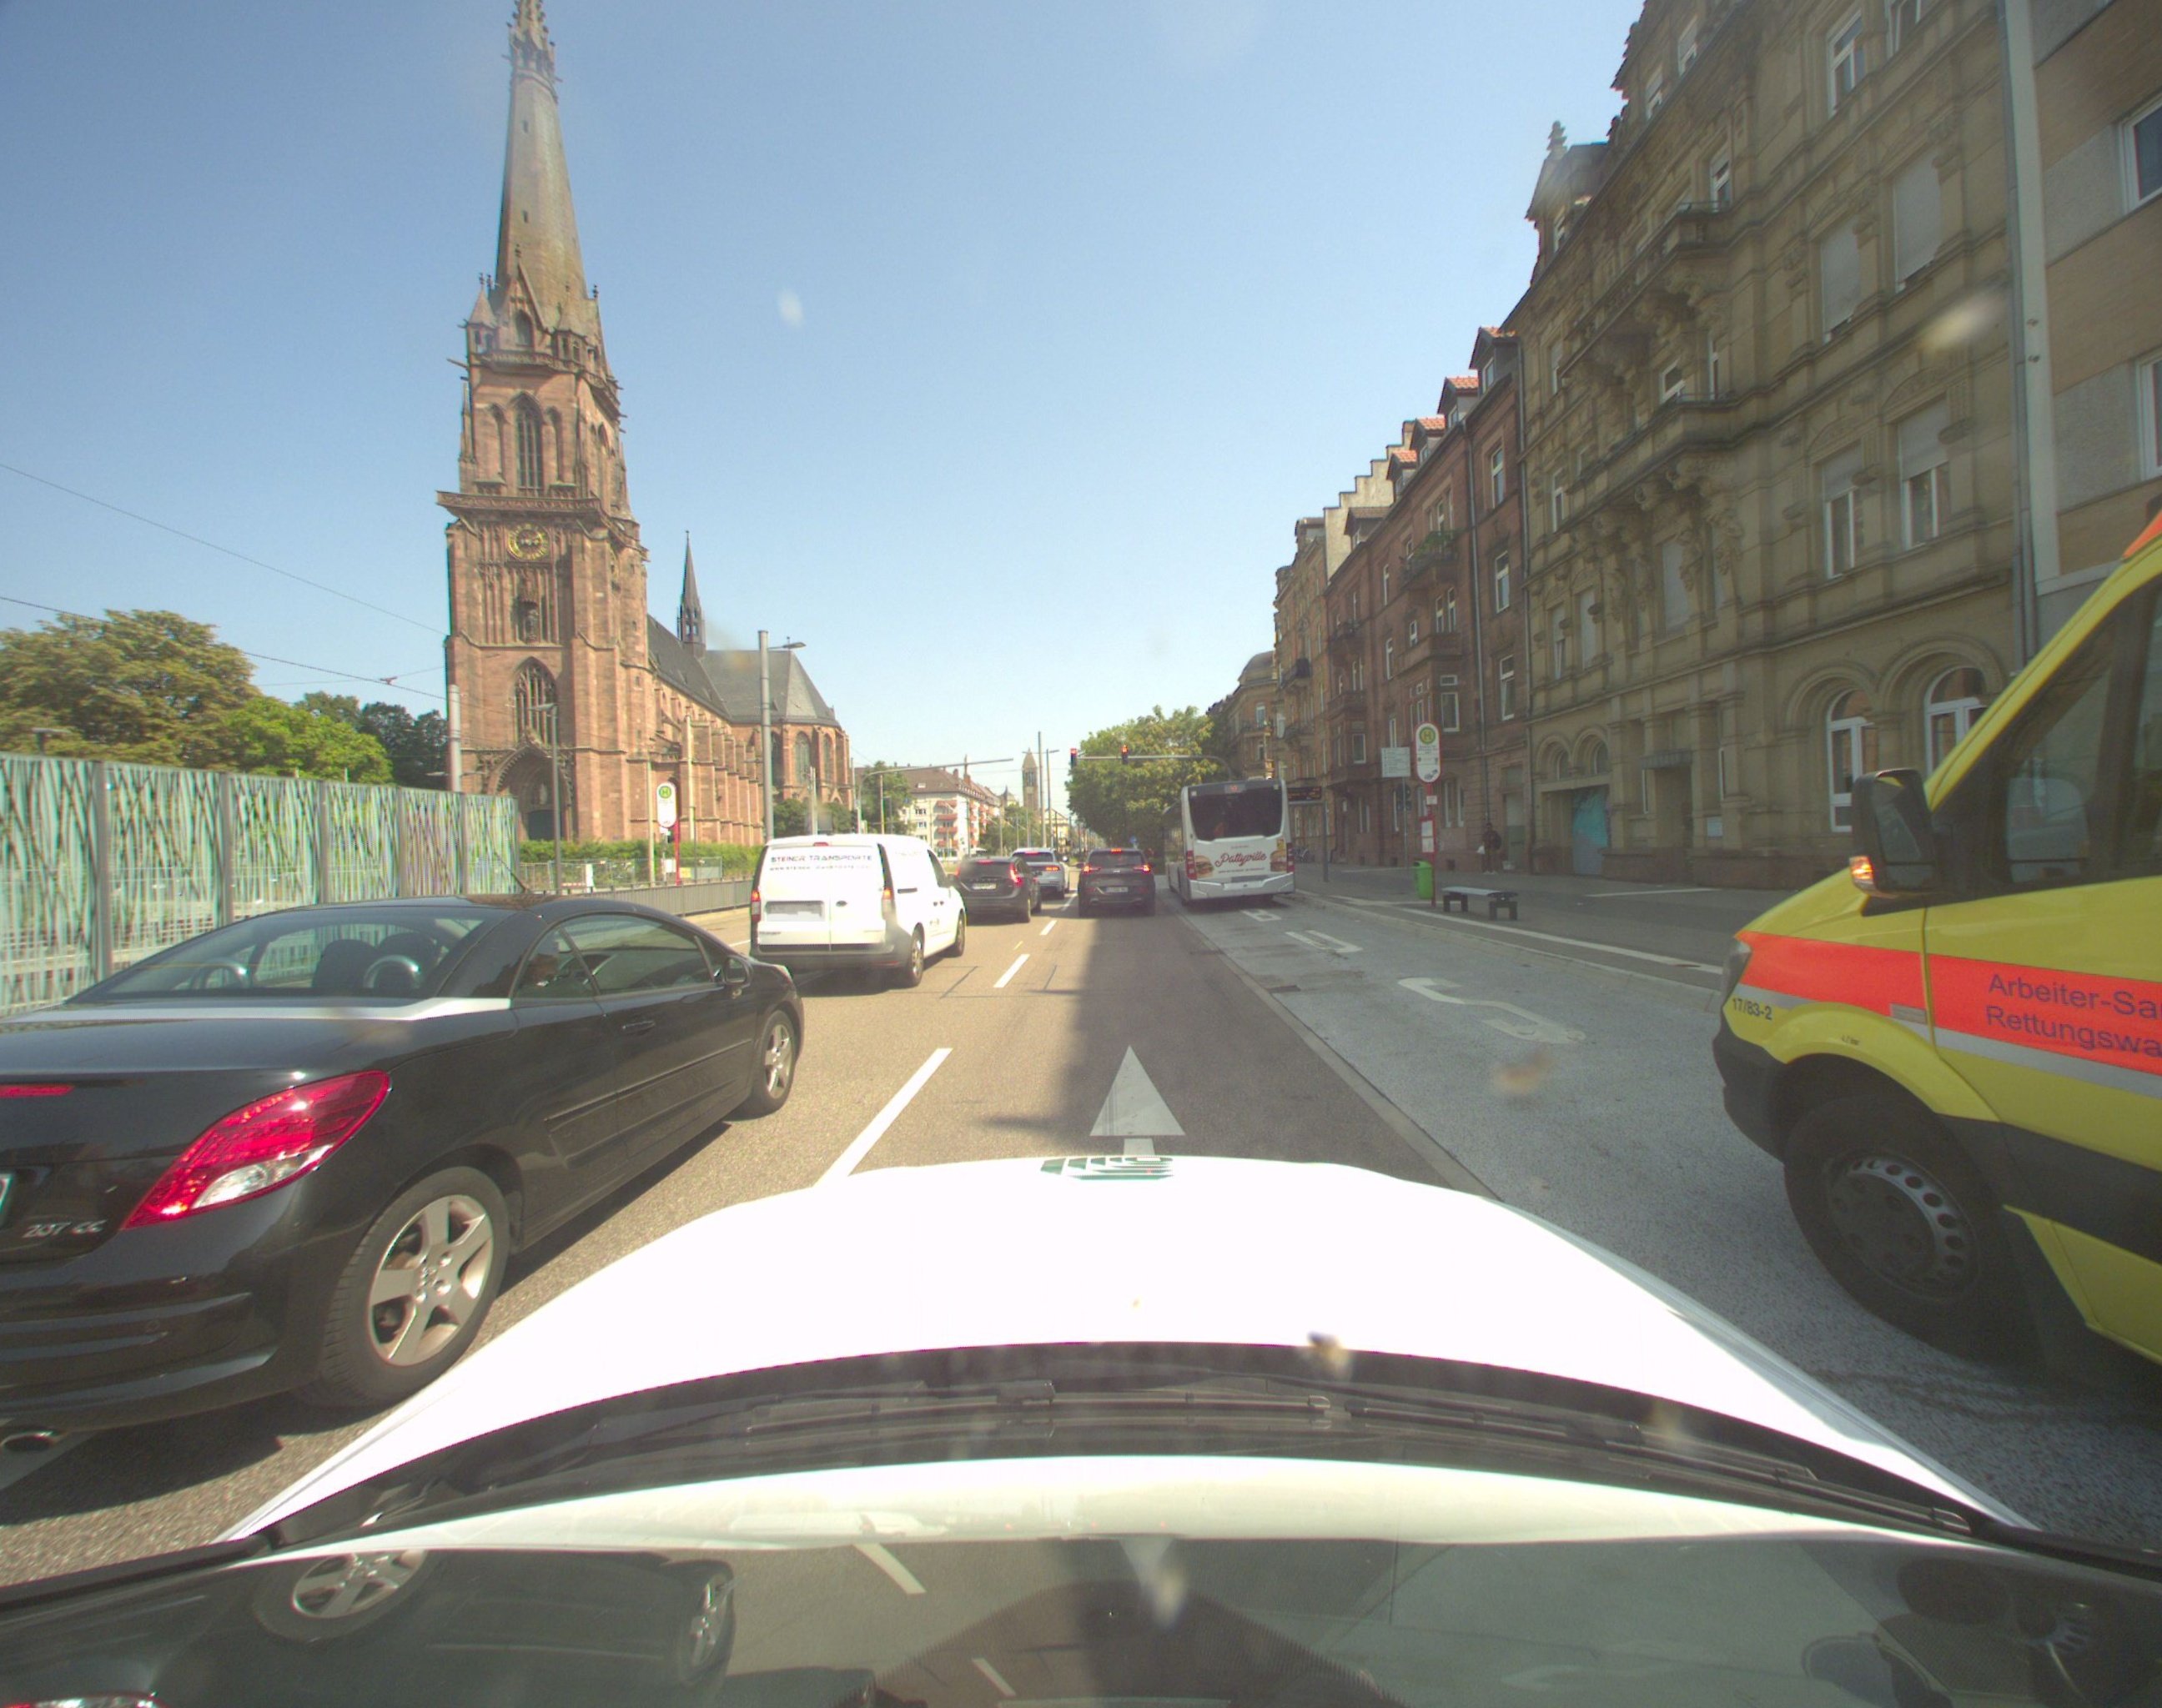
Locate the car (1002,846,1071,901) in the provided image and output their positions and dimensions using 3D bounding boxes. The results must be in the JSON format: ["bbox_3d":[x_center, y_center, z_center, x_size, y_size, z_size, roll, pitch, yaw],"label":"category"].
[{"bbox_3d":[-1.394,0.568,27.174,1.895,1.651,4.310,-1,0,2],"label":"car"}]

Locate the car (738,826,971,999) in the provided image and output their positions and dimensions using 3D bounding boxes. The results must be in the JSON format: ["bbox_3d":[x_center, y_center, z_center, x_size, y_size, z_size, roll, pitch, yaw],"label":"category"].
[{"bbox_3d":[-2.713,0.621,10.841,1.741,1.820,4.241,-1,0,2],"label":"car"}]

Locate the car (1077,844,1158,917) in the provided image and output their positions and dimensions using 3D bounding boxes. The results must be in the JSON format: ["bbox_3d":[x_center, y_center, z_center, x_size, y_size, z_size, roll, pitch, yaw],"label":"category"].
[{"bbox_3d":[0.935,0.589,20.729,1.825,1.651,4.311,-1,0,3],"label":"car"}]

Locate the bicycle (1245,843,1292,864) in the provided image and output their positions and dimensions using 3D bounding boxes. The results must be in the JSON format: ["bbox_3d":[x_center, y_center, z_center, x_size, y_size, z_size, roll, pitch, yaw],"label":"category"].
[{"bbox_3d":[12.922,-0.038,56.226,2.993,1.373,0.947,-2,0,0],"label":"bicycle"}]

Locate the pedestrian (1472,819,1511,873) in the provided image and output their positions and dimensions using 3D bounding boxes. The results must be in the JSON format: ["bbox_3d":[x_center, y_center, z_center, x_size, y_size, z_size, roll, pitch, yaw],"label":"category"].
[{"bbox_3d":[13.667,-0.264,27.125,0.872,1.778,0.737,-2,0,-26],"label":"pedestrian"}]

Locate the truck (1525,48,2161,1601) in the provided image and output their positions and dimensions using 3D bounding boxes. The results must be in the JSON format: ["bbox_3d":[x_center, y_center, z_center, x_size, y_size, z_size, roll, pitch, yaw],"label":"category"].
[{"bbox_3d":[2.997,-0.057,0.462,2.317,2.770,6.347,-4,0,5],"label":"truck"}]

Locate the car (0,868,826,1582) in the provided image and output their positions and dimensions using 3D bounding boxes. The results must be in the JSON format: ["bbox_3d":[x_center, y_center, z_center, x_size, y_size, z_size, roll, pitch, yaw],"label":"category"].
[{"bbox_3d":[-2.623,0.821,3.613,1.682,1.413,3.802,-1,0,1],"label":"car"}]

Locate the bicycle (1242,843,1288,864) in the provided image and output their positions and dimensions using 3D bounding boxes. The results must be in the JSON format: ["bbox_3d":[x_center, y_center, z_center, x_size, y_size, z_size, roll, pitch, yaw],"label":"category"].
[{"bbox_3d":[12.968,-0.030,57.543,2.993,1.373,0.947,-2,0,0],"label":"bicycle"}]

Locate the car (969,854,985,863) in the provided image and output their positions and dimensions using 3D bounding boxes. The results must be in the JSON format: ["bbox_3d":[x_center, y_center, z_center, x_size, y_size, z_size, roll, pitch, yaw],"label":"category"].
[{"bbox_3d":[-18.016,0.757,141.273,1.737,1.435,4.582,-4,0,7],"label":"car"}]

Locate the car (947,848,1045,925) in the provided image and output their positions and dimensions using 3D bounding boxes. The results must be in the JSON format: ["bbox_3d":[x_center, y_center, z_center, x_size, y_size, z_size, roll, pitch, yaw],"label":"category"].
[{"bbox_3d":[-1.890,0.675,19.369,1.741,1.614,4.310,-1,0,2],"label":"car"}]

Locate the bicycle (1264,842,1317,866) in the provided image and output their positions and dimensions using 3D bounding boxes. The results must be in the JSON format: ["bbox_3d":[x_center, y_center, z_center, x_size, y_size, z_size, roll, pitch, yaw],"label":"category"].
[{"bbox_3d":[12.946,0.013,50.407,2.983,1.371,0.871,-3,0,0],"label":"bicycle"}]

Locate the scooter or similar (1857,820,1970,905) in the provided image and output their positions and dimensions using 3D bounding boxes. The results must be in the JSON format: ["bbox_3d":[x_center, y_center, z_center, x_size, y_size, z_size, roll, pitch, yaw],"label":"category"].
[{"bbox_3d":[12.622,0.116,12.387,0.474,1.212,1.141,-2,0,-3],"label":"scooter or similar"}]

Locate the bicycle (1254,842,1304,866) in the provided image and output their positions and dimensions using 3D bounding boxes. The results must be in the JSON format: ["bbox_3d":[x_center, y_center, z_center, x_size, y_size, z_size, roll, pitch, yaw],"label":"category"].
[{"bbox_3d":[12.913,0.002,53.176,2.983,1.371,0.871,-3,0,0],"label":"bicycle"}]

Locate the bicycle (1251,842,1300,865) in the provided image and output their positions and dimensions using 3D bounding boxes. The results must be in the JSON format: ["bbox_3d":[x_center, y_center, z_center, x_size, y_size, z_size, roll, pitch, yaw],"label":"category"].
[{"bbox_3d":[12.939,-0.024,54.119,2.993,1.373,0.947,-2,0,0],"label":"bicycle"}]

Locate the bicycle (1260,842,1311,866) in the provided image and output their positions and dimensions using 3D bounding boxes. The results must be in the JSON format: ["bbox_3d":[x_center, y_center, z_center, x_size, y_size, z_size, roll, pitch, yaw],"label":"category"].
[{"bbox_3d":[12.877,-0.004,51.315,2.983,1.371,0.871,-3,0,0],"label":"bicycle"}]

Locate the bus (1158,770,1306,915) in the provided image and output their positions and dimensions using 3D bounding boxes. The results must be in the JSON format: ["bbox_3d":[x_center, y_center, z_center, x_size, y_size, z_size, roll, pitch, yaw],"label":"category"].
[{"bbox_3d":[4.030,-0.280,24.719,2.732,3.106,11.966,-5,0,3],"label":"bus"}]
